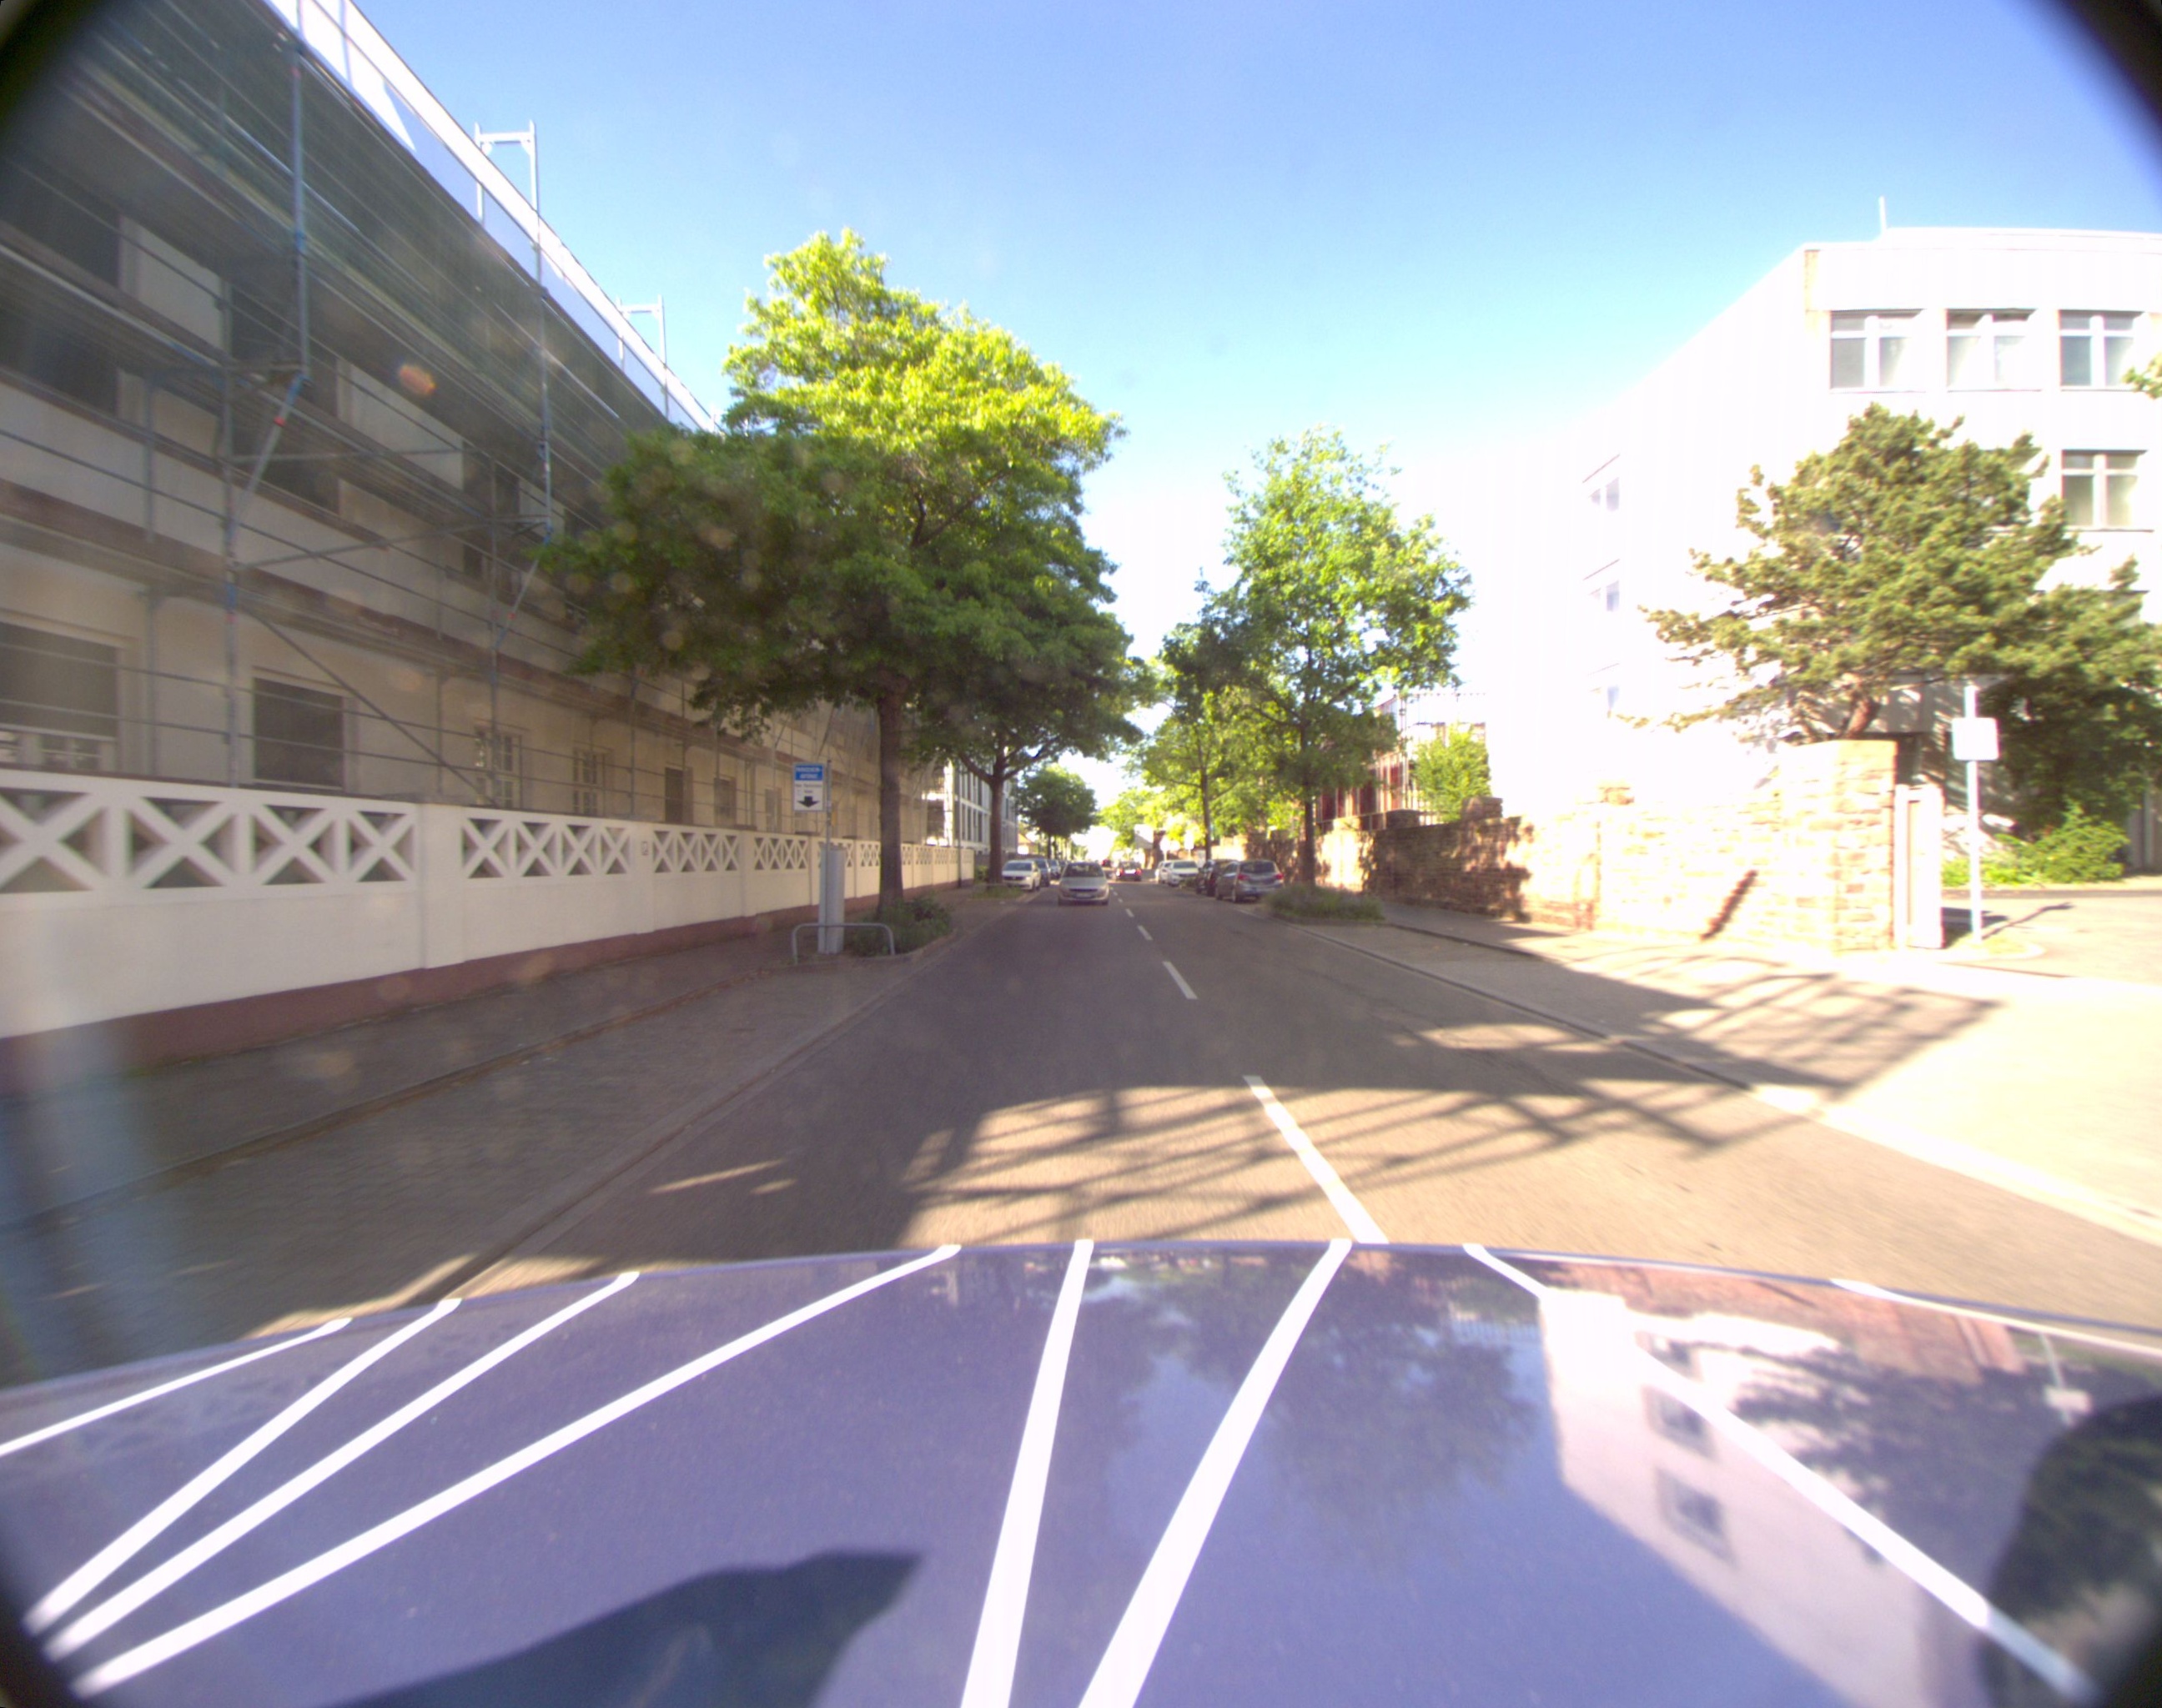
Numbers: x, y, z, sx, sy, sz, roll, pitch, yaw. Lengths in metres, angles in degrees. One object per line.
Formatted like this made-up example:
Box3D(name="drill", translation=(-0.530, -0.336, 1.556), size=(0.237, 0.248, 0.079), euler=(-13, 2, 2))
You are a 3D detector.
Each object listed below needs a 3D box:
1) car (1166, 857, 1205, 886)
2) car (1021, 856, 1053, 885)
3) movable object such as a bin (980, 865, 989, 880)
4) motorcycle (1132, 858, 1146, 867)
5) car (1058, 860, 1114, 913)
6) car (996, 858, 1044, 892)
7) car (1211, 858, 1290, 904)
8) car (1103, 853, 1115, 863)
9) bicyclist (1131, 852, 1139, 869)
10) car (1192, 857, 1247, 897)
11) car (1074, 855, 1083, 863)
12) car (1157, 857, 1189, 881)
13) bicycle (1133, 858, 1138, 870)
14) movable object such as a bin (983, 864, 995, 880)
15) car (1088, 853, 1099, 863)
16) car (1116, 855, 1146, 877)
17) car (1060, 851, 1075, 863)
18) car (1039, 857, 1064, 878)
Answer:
Box3D(name="car", translation=(5.917, 0.953, 43.453), size=(1.681, 1.502, 3.849), euler=(-4, 0, 1))
Box3D(name="car", translation=(-2.625, 0.972, 45.960), size=(1.716, 1.628, 4.302), euler=(-1, 0, -1))
Box3D(name="movable object such as a bin", translation=(-6.175, 1.170, 48.522), size=(0.435, 0.958, 0.511), euler=(-2, 1, 5))
Box3D(name="motorcycle", translation=(6.923, 0.999, 90.298), size=(0.599, 1.026, 2.132), euler=(-1, 0, 35))
Box3D(name="car", translation=(0.231, 1.069, 26.647), size=(1.747, 1.613, 4.106), euler=(-2, 0, 2))
Box3D(name="car", translation=(-2.920, 0.984, 37.060), size=(1.727, 1.501, 3.993), euler=(1, 0, 4))
Box3D(name="car", translation=(5.902, 0.892, 26.852), size=(1.692, 1.413, 3.837), euler=(-2, 0, -3))
Box3D(name="car", translation=(4.555, 0.697, 125.021), size=(1.648, 1.602, 4.020), euler=(1, 0, -1))
Box3D(name="bicyclist", translation=(4.921, 0.561, 69.288), size=(0.722, 1.513, 1.005), euler=(-2, 1, 4))
Box3D(name="car", translation=(5.790, 0.918, 32.132), size=(1.577, 1.506, 4.044), euler=(-1, 0, 0))
Box3D(name="car", translation=(-0.534, 1.031, 151.164), size=(1.757, 1.459, 3.486), euler=(-2, 0, 0))
Box3D(name="car", translation=(6.017, 0.948, 49.895), size=(1.578, 1.394, 3.750), euler=(-4, 0, 0))
Box3D(name="bicycle", translation=(4.947, 0.896, 69.202), size=(0.358, 1.114, 1.866), euler=(-2, 0, 2))
Box3D(name="movable object such as a bin", translation=(-5.929, 1.147, 49.092), size=(0.599, 1.021, 0.564), euler=(-2, 1, 4))
Box3D(name="car", translation=(2.205, 0.678, 136.865), size=(1.834, 1.732, 4.000), euler=(-2, 0, 0))
Box3D(name="car", translation=(3.462, 0.834, 53.087), size=(1.826, 1.427, 3.969), euler=(2, 0, 1))
Box3D(name="car", translation=(-1.983, 0.450, 112.187), size=(1.887, 1.592, 4.299), euler=(-1, 0, 1))
Box3D(name="car", translation=(-2.356, 1.069, 61.568), size=(1.797, 1.606, 4.126), euler=(-2, 0, -1))
